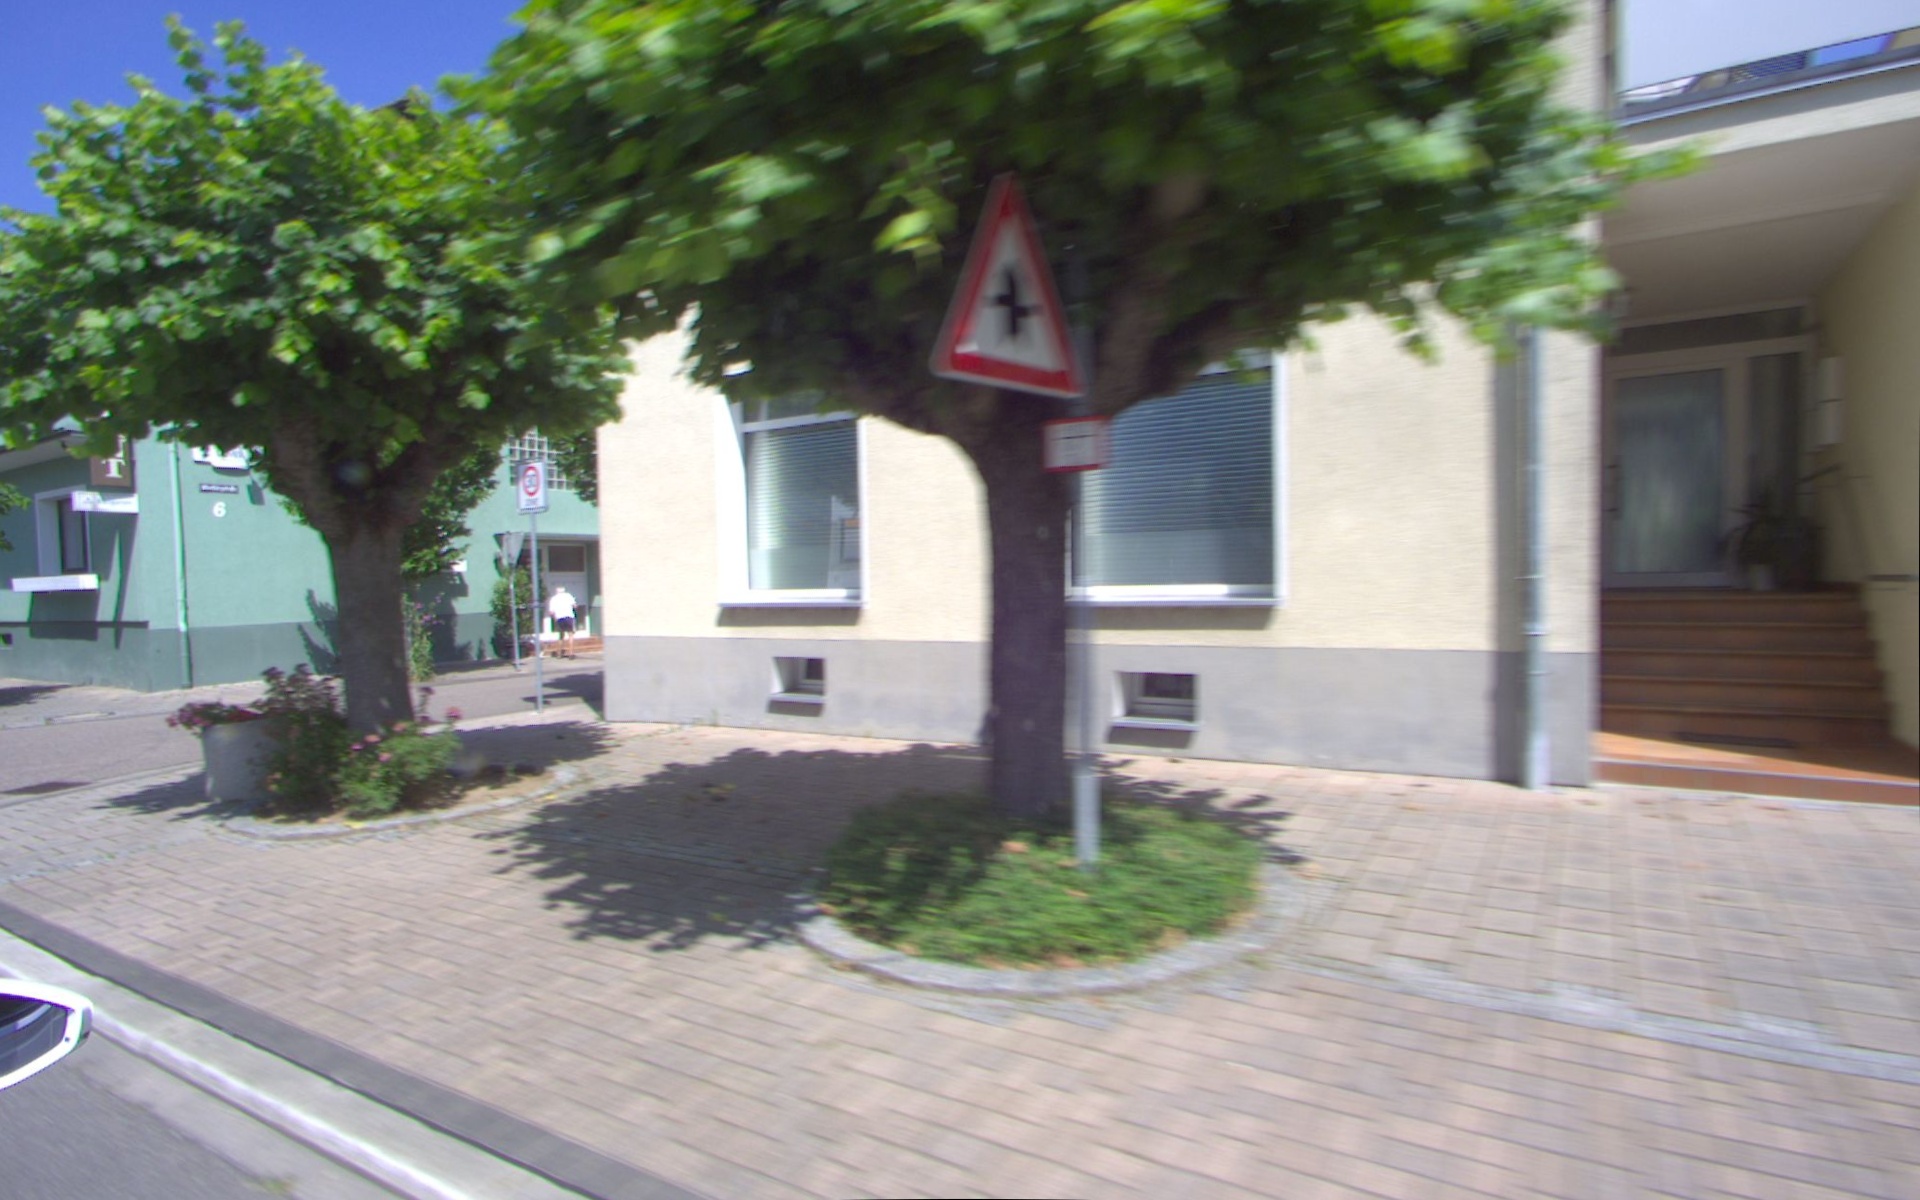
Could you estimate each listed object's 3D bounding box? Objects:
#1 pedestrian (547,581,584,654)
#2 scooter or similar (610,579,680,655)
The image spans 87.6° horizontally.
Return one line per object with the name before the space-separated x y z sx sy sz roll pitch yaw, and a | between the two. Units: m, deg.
pedestrian | -8.771 0.395 22.264 0.537 1.590 0.544 -1 0 29
scooter or similar | -7.361 0.375 23.415 1.175 1.670 1.090 3 4 36
